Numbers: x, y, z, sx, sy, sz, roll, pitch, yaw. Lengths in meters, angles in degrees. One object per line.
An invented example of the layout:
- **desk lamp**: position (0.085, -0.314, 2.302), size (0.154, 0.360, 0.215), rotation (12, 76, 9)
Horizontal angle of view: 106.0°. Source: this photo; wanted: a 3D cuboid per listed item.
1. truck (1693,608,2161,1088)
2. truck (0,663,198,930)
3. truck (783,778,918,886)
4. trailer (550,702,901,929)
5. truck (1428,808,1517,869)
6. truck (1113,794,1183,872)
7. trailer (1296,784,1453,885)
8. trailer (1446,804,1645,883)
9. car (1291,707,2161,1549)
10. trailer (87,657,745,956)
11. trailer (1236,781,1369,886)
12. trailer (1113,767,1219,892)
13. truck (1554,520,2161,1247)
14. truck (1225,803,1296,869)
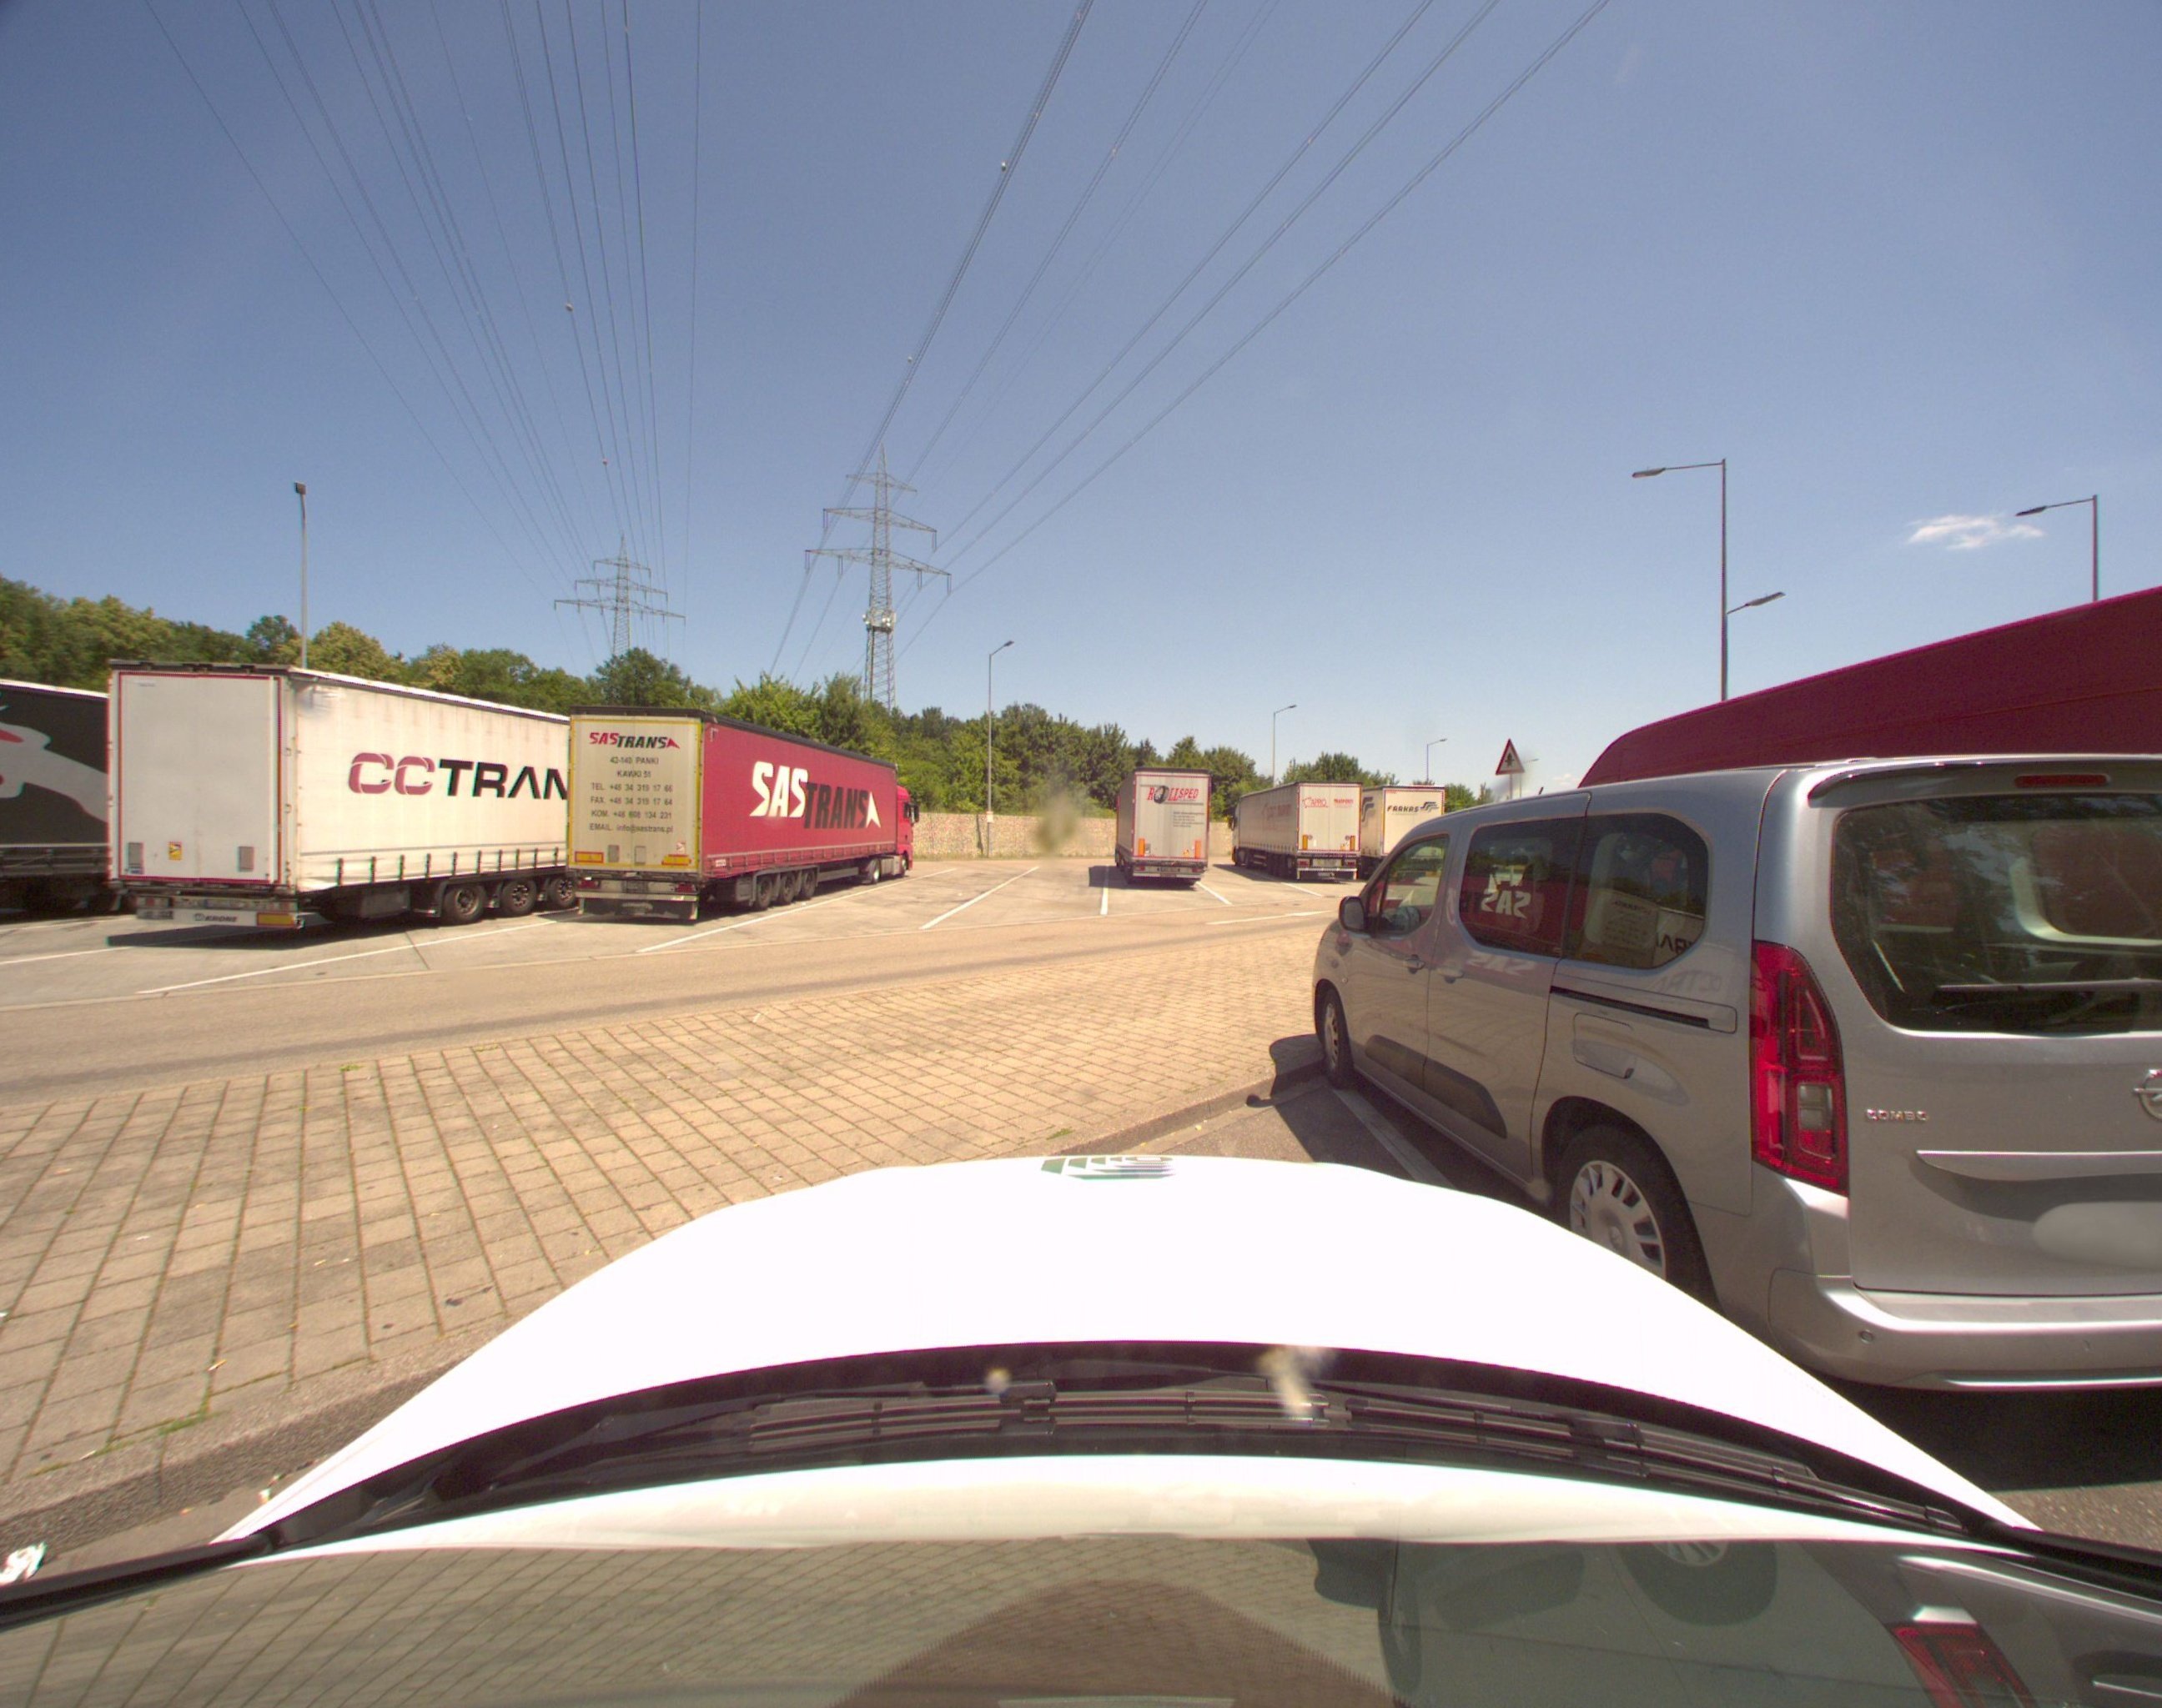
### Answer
- **truck**: position (7.981, -0.030, 6.471), size (2.444, 2.912, 5.663), rotation (-1, -1, 7)
- **truck**: position (-18.550, -0.968, 13.798), size (2.726, 4.239, 3.997), rotation (1, 2, 2)
- **truck**: position (-7.827, -0.783, 28.490), size (2.840, 3.327, 5.903), rotation (1, 2, 2)
- **trailer**: position (-8.074, -0.945, 21.920), size (2.781, 4.084, 14.139), rotation (1, 2, 2)
- **truck**: position (24.343, -1.001, 51.002), size (2.792, 3.521, 5.903), rotation (1, 2, 2)
- **truck**: position (3.218, -1.078, 40.605), size (3.092, 3.566, 5.903), rotation (1, 2, 2)
- **trailer**: position (13.591, -1.032, 39.623), size (2.801, 3.989, 14.403), rotation (1, 2, 2)
- **trailer**: position (24.088, -0.729, 43.770), size (2.801, 3.507, 14.403), rotation (1, 2, 2)
- **car**: position (2.480, 0.580, 3.899), size (1.864, 1.863, 4.176), rotation (1, 1, 0)
- **trailer**: position (-12.138, -0.909, 18.350), size (2.785, 4.084, 14.139), rotation (1, 2, 2)
- **trailer**: position (9.918, -1.041, 38.660), size (2.801, 3.989, 14.403), rotation (1, 2, 2)
- **trailer**: position (3.052, -1.061, 33.711), size (3.122, 3.989, 14.401), rotation (1, 2, 1)
- **truck**: position (5.126, 0.125, 4.922), size (1.968, 2.622, 5.314), rotation (0, -1, 7)
- **truck**: position (10.179, -1.072, 46.761), size (2.852, 3.521, 5.903), rotation (1, 2, 2)
